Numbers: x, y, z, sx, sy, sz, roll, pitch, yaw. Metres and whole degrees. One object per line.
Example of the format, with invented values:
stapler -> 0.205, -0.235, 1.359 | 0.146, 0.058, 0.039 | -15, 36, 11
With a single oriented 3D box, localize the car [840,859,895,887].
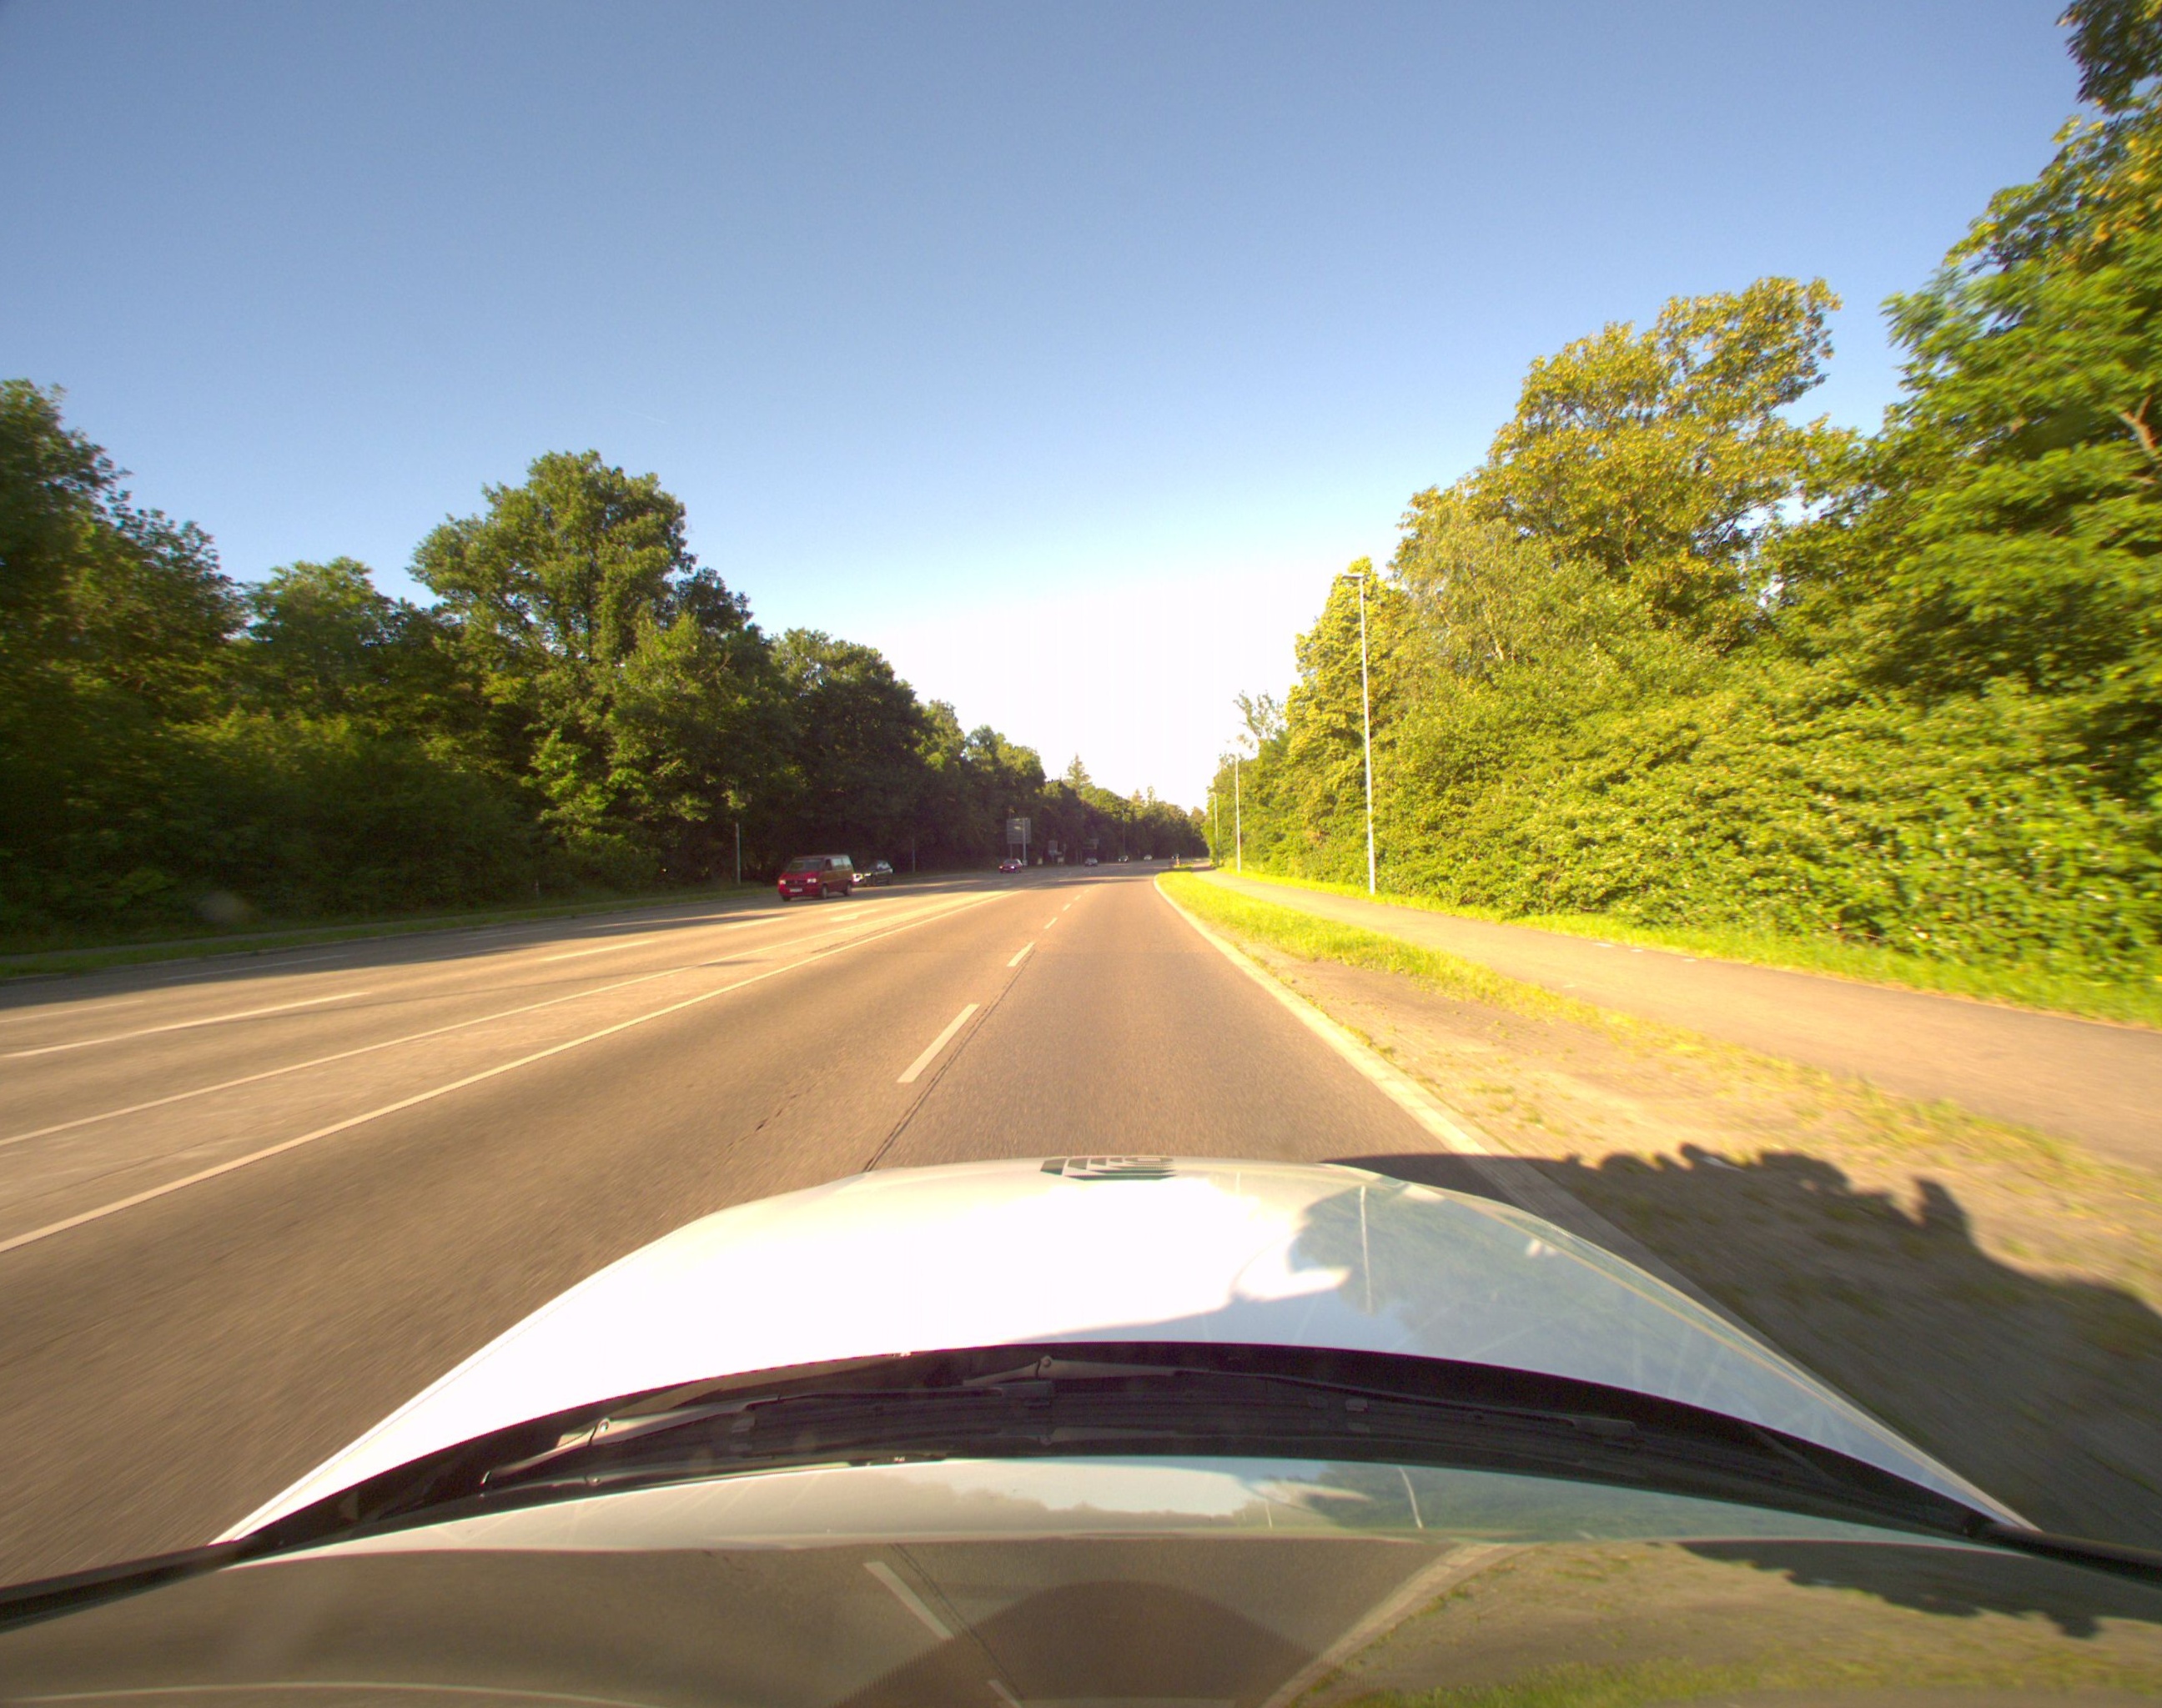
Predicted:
car -> -13.471, 1.180, 51.611 | 1.985, 1.637, 4.847 | -1, 0, 2

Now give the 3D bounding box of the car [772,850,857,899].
car -> -11.607, 0.864, 35.830 | 1.986, 1.962, 4.651 | -2, -1, 2

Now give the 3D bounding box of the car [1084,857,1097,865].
car -> 1.579, 1.146, 129.709 | 1.736, 1.234, 4.679 | -1, 0, 4

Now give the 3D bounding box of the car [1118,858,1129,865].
car -> 9.433, 1.653, 182.265 | 1.813, 1.545, 4.269 | -1, 0, 11

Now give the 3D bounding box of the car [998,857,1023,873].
car -> -7.485, 1.149, 87.157 | 1.984, 1.564, 4.343 | -1, 0, 4

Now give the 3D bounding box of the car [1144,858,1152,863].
car -> 18.290, 1.728, 221.689 | 1.814, 1.504, 4.318 | -1, 0, 9
